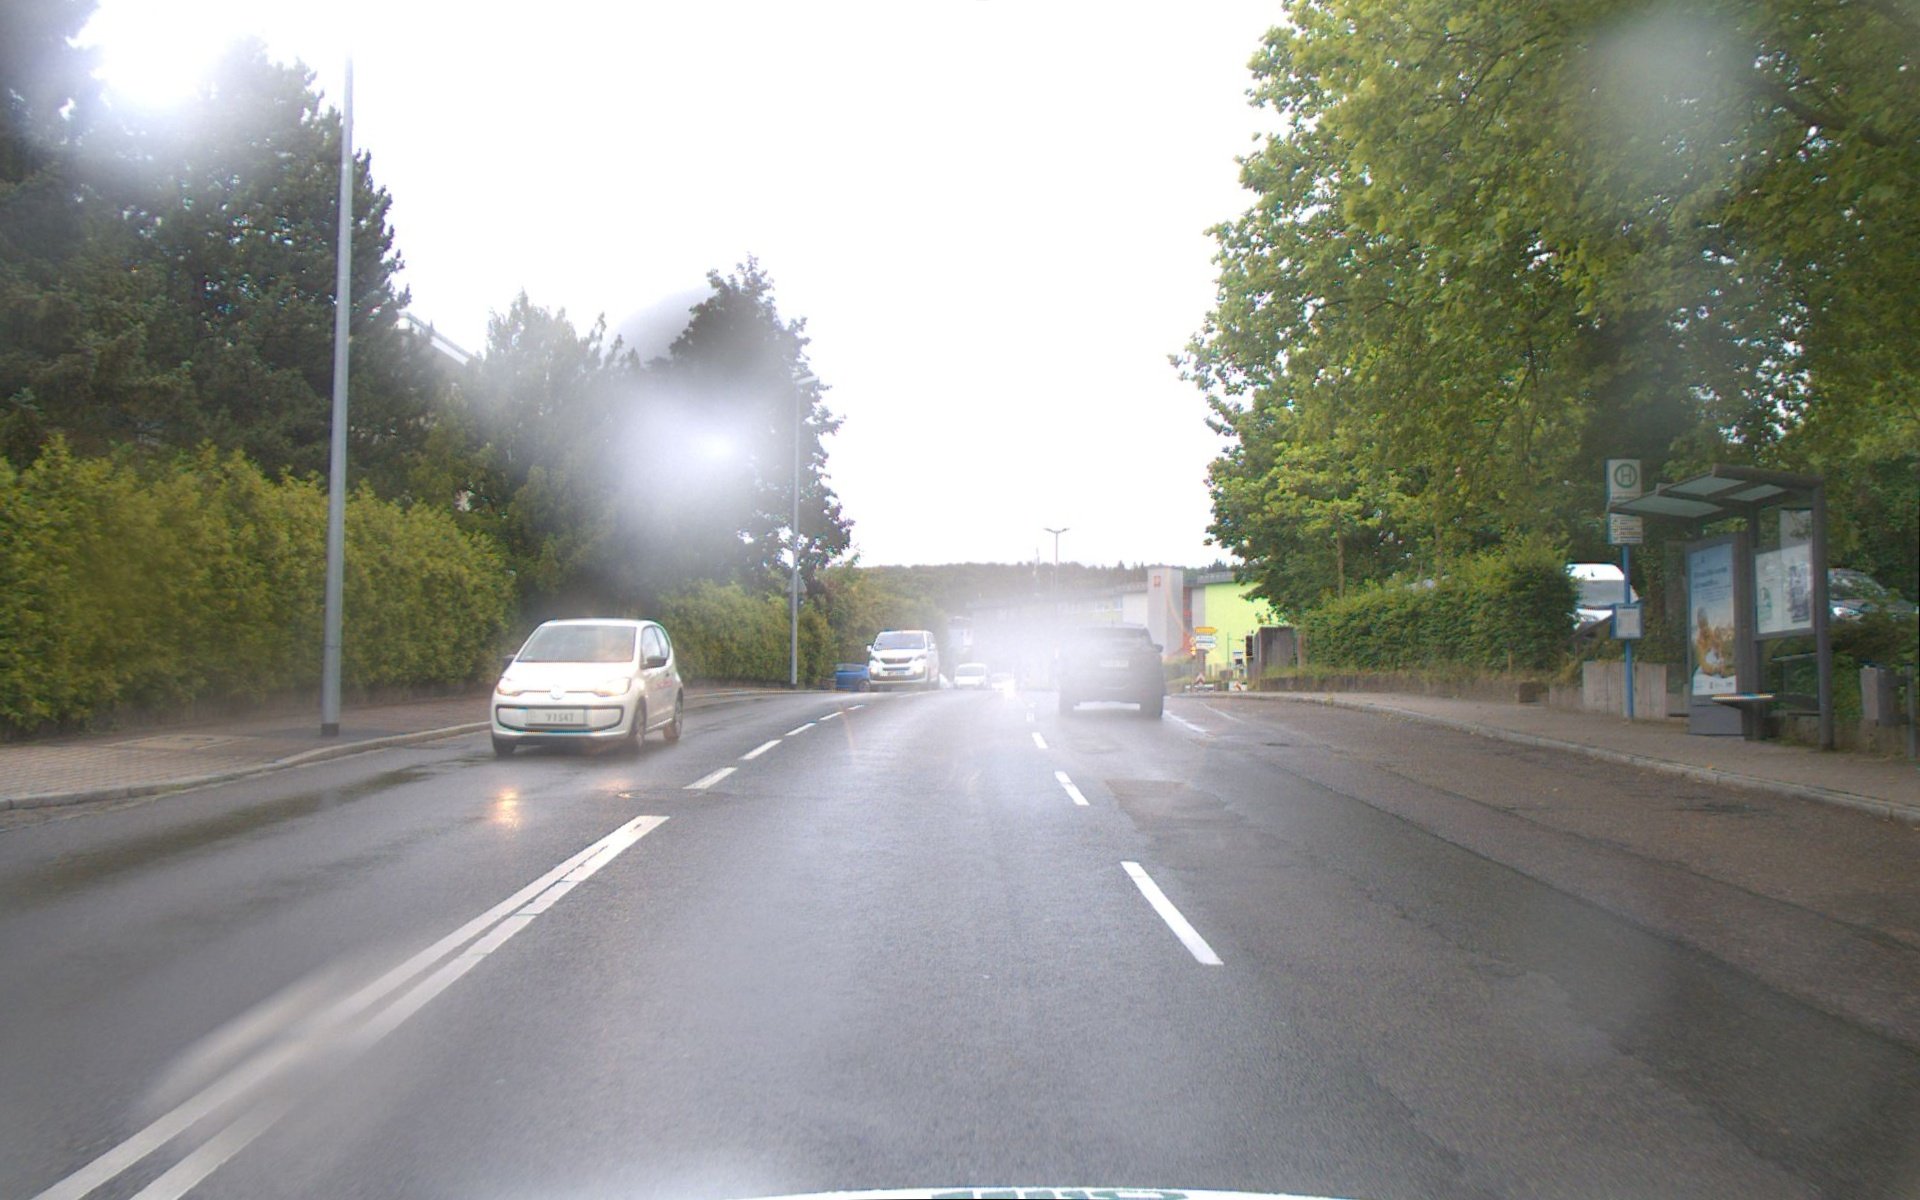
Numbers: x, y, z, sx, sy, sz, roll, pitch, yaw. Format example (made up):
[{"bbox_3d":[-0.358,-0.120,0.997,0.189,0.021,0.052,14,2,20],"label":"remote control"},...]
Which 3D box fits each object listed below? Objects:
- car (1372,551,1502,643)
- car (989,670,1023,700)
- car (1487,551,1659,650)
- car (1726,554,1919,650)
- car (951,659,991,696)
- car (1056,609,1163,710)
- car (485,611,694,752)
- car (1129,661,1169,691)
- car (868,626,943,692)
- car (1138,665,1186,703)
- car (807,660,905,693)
[{"bbox_3d":[12.465,-0.103,43.493,1.954,2.265,4.130,1,0,-4],"label":"car"},{"bbox_3d":[2.689,4.872,95.109,1.600,1.607,4.059,-3,-3,5],"label":"car"},{"bbox_3d":[15.584,-0.013,42.360,2.005,2.324,5.010,2,0,-7],"label":"car"},{"bbox_3d":[16.126,0.035,30.535,1.784,1.611,4.168,1,0,-4],"label":"car"},{"bbox_3d":[0.558,3.907,83.333,1.665,1.738,3.980,3,-3,4],"label":"car"},{"bbox_3d":[2.702,1.005,29.947,1.752,1.631,4.256,1,0,5],"label":"car"},{"bbox_3d":[-4.174,0.871,19.104,1.651,1.479,3.397,0,0,0],"label":"car"},{"bbox_3d":[10.064,4.003,87.858,1.951,1.467,4.003,1,-1,8],"label":"car"},{"bbox_3d":[-1.665,1.848,52.585,1.824,1.950,5.031,-2,-1,4],"label":"car"},{"bbox_3d":[8.663,3.559,70.767,1.951,1.467,4.003,1,-1,8],"label":"car"},{"bbox_3d":[-4.872,3.603,77.630,4.390,1.386,1.805,2,-2,1],"label":"car"}]
